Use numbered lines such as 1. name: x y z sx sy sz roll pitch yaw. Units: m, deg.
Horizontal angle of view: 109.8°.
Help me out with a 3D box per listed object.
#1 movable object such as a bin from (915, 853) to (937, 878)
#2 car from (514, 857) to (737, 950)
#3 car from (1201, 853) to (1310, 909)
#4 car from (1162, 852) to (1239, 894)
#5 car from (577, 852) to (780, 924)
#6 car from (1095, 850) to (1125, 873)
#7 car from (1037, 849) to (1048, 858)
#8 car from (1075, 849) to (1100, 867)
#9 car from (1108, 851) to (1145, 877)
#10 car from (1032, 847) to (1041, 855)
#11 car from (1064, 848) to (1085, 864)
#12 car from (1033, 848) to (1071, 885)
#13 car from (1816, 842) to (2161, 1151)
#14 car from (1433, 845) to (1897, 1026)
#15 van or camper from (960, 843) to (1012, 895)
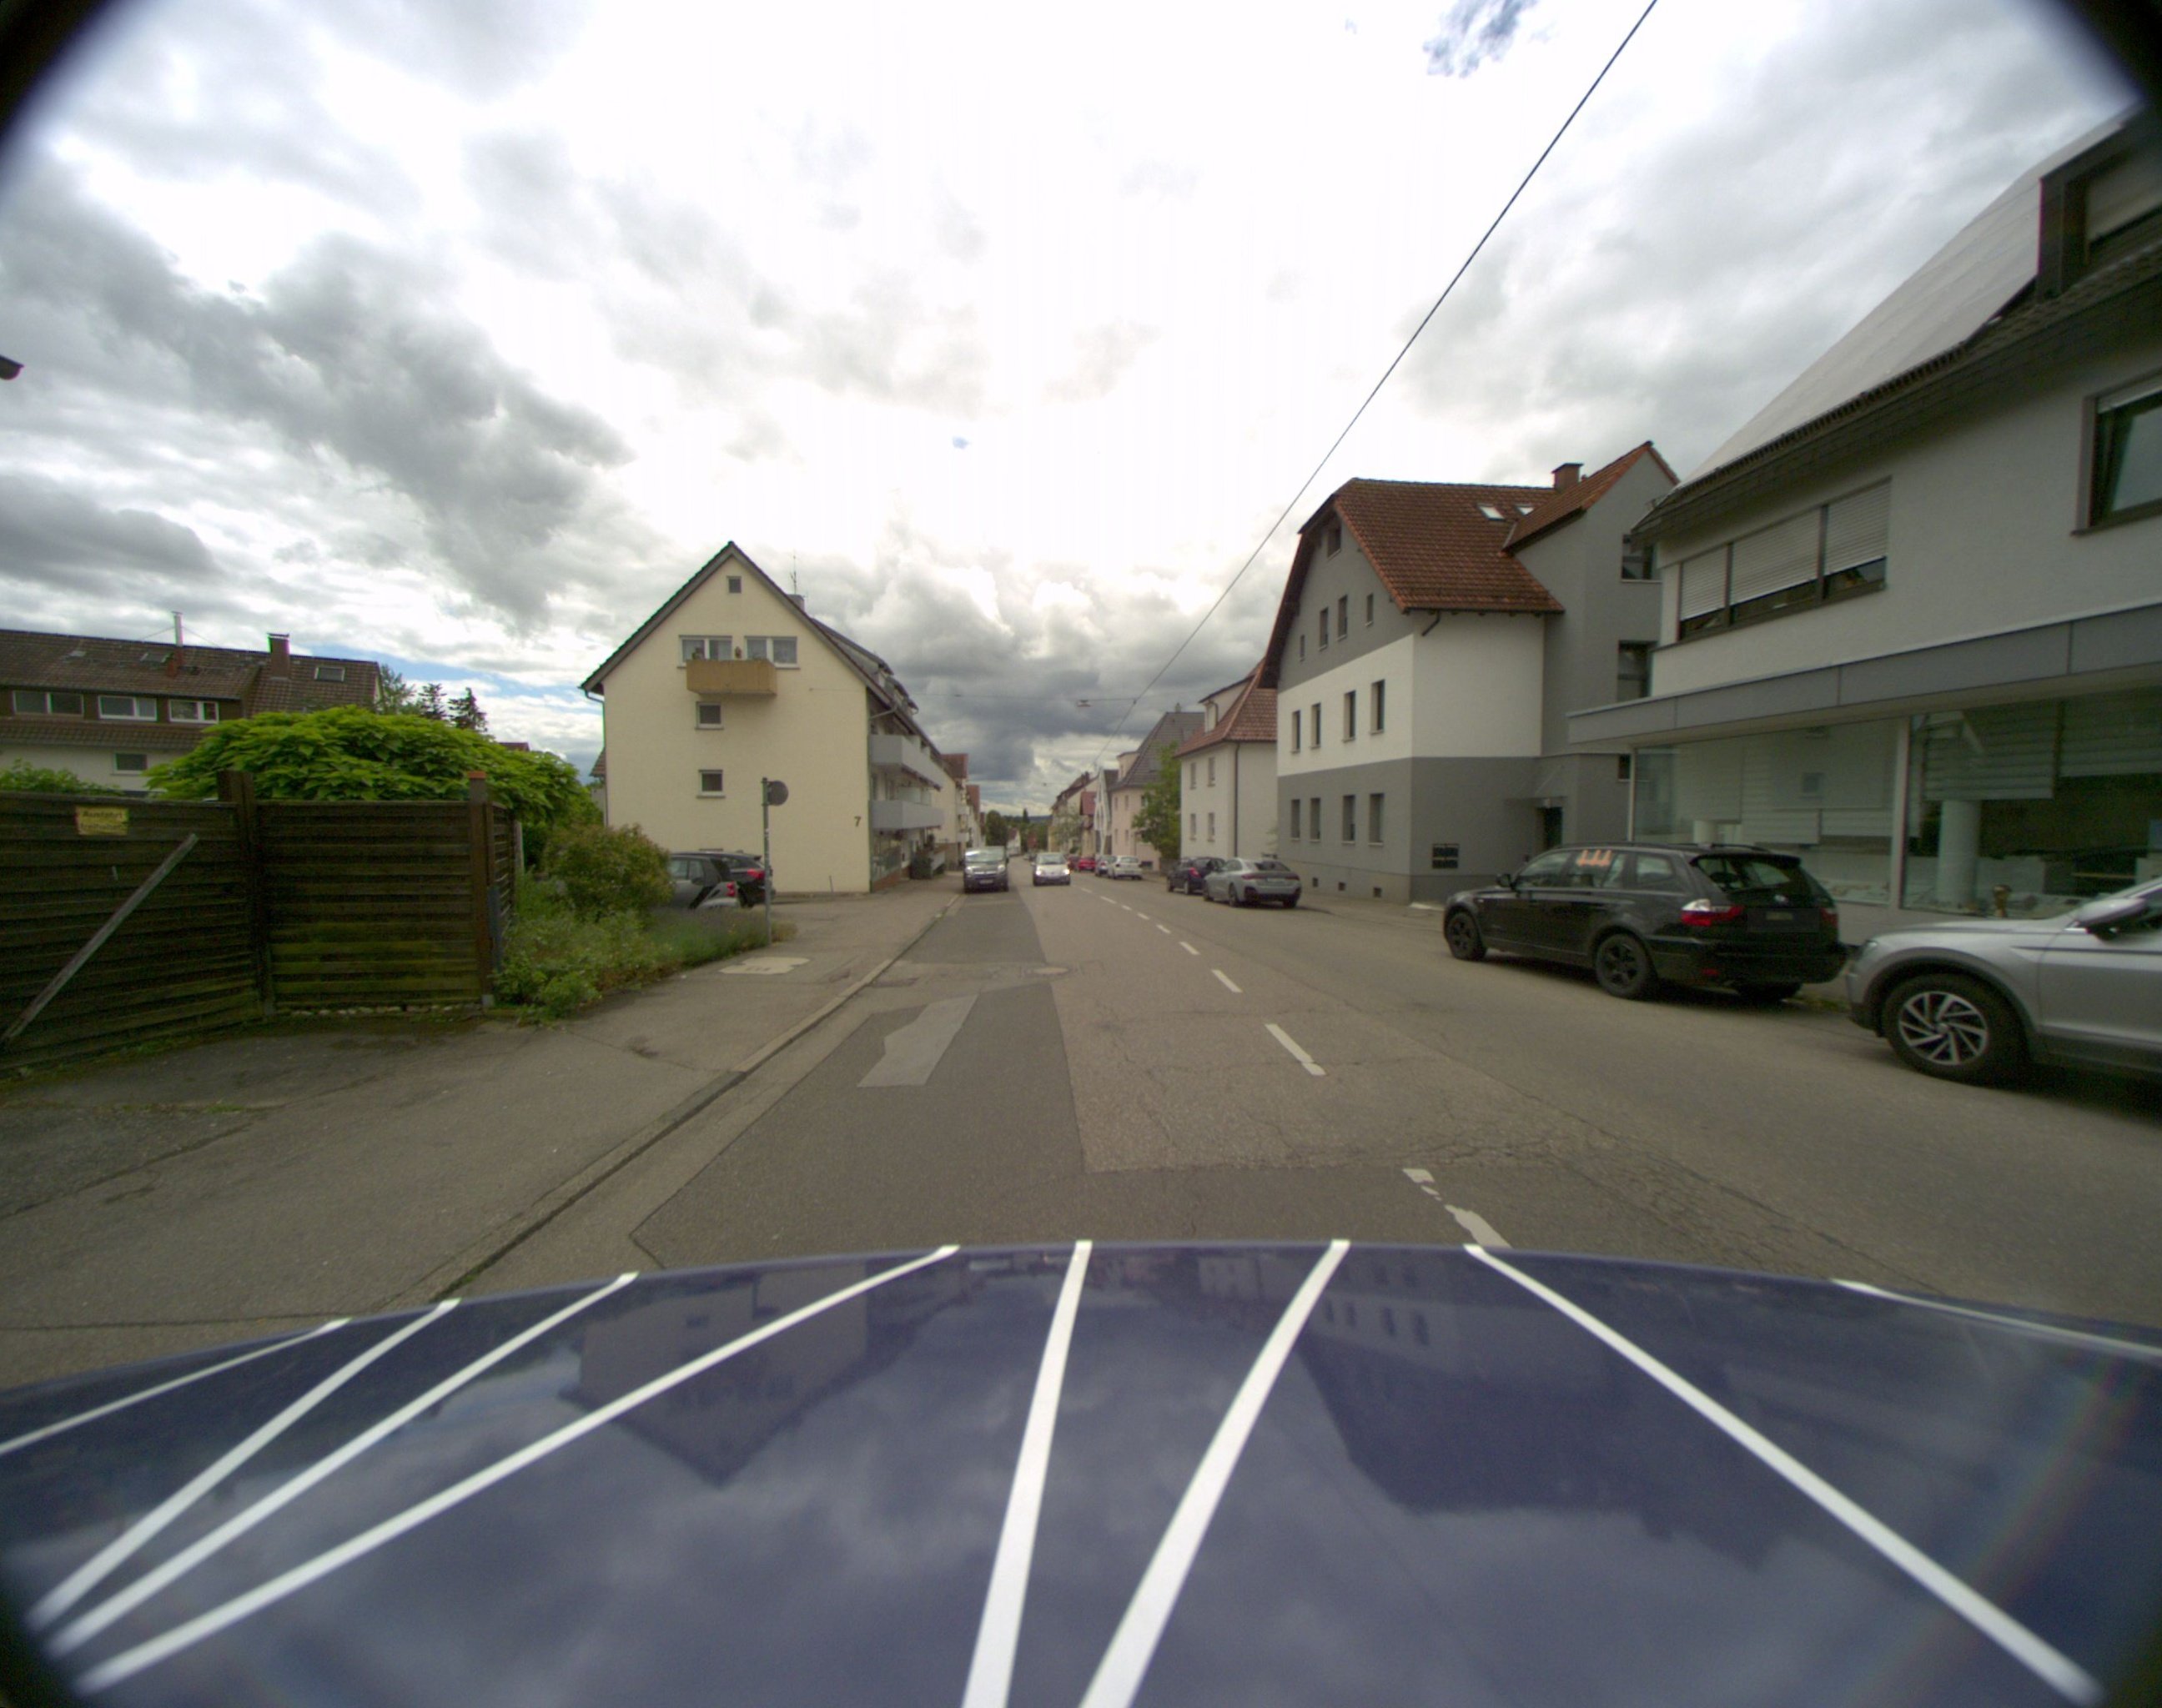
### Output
1. movable object such as a bin: -9.212 0.672 45.281 1.083 1.429 1.259 -2 1 -6
2. car: -8.167 0.825 13.964 3.328 1.510 1.700 0 1 -25
3. car: 5.130 0.747 23.014 1.843 1.437 4.464 1 1 -6
4. car: 4.572 0.695 29.691 1.843 1.437 3.996 1 1 -8
5. car: -9.806 0.779 18.884 4.127 1.644 1.901 0 1 -14
6. car: 1.932 0.451 51.071 1.654 1.438 3.772 1 1 -3
7. car: -7.075 -0.073 140.395 1.707 1.524 3.733 2 1 -6
8. car: 0.550 0.336 66.604 1.707 1.402 3.733 2 1 -6
9. car: 2.707 0.563 46.093 1.654 1.438 3.808 1 1 -6
10. car: -9.516 -0.621 161.284 1.707 1.524 3.733 2 1 -6
11. car: -0.691 0.202 77.644 1.707 1.524 3.733 2 1 -6
12. car: -1.438 0.566 37.520 1.721 1.587 3.998 -2 1 -3
13. car: 6.640 0.767 3.572 1.843 1.623 4.405 1 1 -5
14. car: 6.329 0.722 9.074 1.843 1.623 4.405 1 1 -5
15. van or camper: -4.156 0.577 33.379 2.000 2.002 5.060 -3 1 -7
